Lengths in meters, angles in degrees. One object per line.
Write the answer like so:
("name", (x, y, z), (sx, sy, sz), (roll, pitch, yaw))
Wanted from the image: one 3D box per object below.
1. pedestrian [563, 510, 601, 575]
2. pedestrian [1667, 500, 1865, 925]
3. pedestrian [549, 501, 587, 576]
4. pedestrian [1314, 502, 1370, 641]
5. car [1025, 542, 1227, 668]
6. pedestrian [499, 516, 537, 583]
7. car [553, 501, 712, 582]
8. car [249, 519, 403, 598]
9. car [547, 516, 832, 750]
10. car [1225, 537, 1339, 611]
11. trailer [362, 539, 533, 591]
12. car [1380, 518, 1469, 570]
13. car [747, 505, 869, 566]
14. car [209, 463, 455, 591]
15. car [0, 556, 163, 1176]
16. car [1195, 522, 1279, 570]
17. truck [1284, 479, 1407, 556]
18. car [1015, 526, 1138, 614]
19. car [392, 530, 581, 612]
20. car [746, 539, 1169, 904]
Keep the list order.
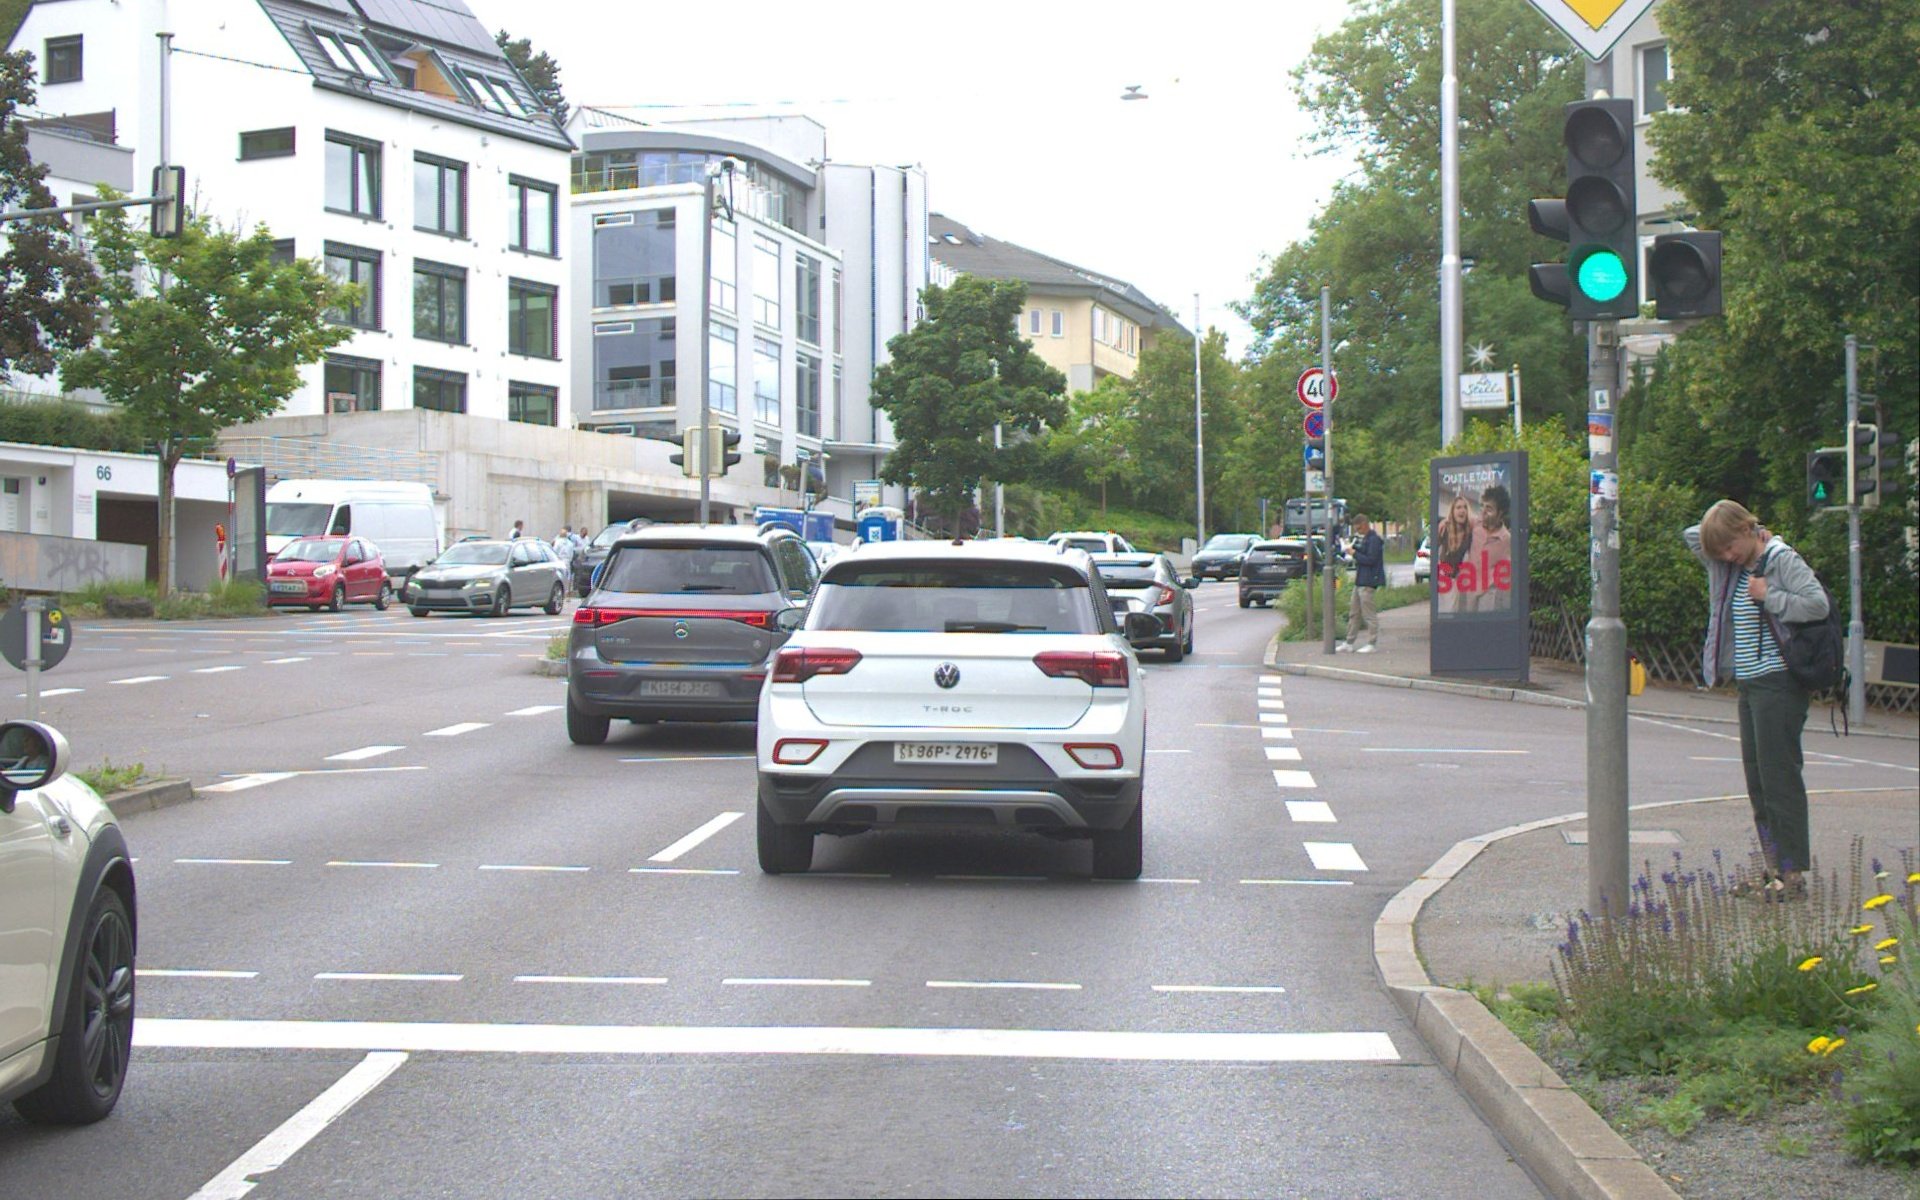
("pedestrian", (-9.611, -1.465, 87.472), (0.674, 1.634, 0.672), (1, 2, -34))
("pedestrian", (3.292, 0.447, 14.022), (0.694, 1.683, 0.619), (-1, 0, 20))
("pedestrian", (-9.851, -1.549, 86.394), (0.674, 1.834, 0.672), (1, 2, -34))
("pedestrian", (5.123, -0.386, 46.116), (0.693, 1.827, 0.620), (2, 1, 6))
("car", (2.298, 0.042, 46.292), (1.874, 1.496, 4.552), (4, 1, 13))
("pedestrian", (-10.933, -1.258, 85.011), (0.626, 1.634, 0.671), (3, 2, 21))
("car", (-8.198, -1.499, 86.565), (1.984, 1.960, 5.213), (1, 1, 19))
("car", (-12.179, -0.822, 66.258), (1.622, 1.460, 3.925), (0, 1, 11))
("car", (-2.000, 0.177, 26.676), (1.813, 1.646, 4.636), (0, 1, 0))
("car", (7.221, -0.586, 76.686), (1.874, 1.496, 4.552), (4, 1, 13))
("trailer", (-11.714, -0.820, 78.872), (2.248, 1.108, 4.619), (1, 1, 15))
("car", (13.923, -1.685, 102.885), (1.860, 1.495, 4.052), (0, 1, 20))
("car", (-3.726, -1.581, 84.832), (1.652, 1.388, 4.140), (3, 1, 17))
("car", (-13.218, -1.563, 73.035), (2.233, 2.559, 7.417), (1, 1, 14))
("car", (-3.002, 0.625, 7.482), (1.628, 1.388, 3.566), (0, 1, 1))
("car", (8.977, -1.743, 111.214), (1.693, 1.496, 4.551), (2, 1, 17))
("truck", (15.514, -3.293, 137.780), (2.964, 2.961, 8.970), (2, 2, 19))
("car", (2.317, -0.614, 67.375), (1.859, 1.646, 4.635), (0, 1, 9))
("car", (-8.748, -0.568, 63.916), (1.652, 1.444, 4.563), (2, 2, 18))
("car", (-0.102, 0.489, 16.655), (1.811, 1.534, 3.690), (0, 1, -3))
